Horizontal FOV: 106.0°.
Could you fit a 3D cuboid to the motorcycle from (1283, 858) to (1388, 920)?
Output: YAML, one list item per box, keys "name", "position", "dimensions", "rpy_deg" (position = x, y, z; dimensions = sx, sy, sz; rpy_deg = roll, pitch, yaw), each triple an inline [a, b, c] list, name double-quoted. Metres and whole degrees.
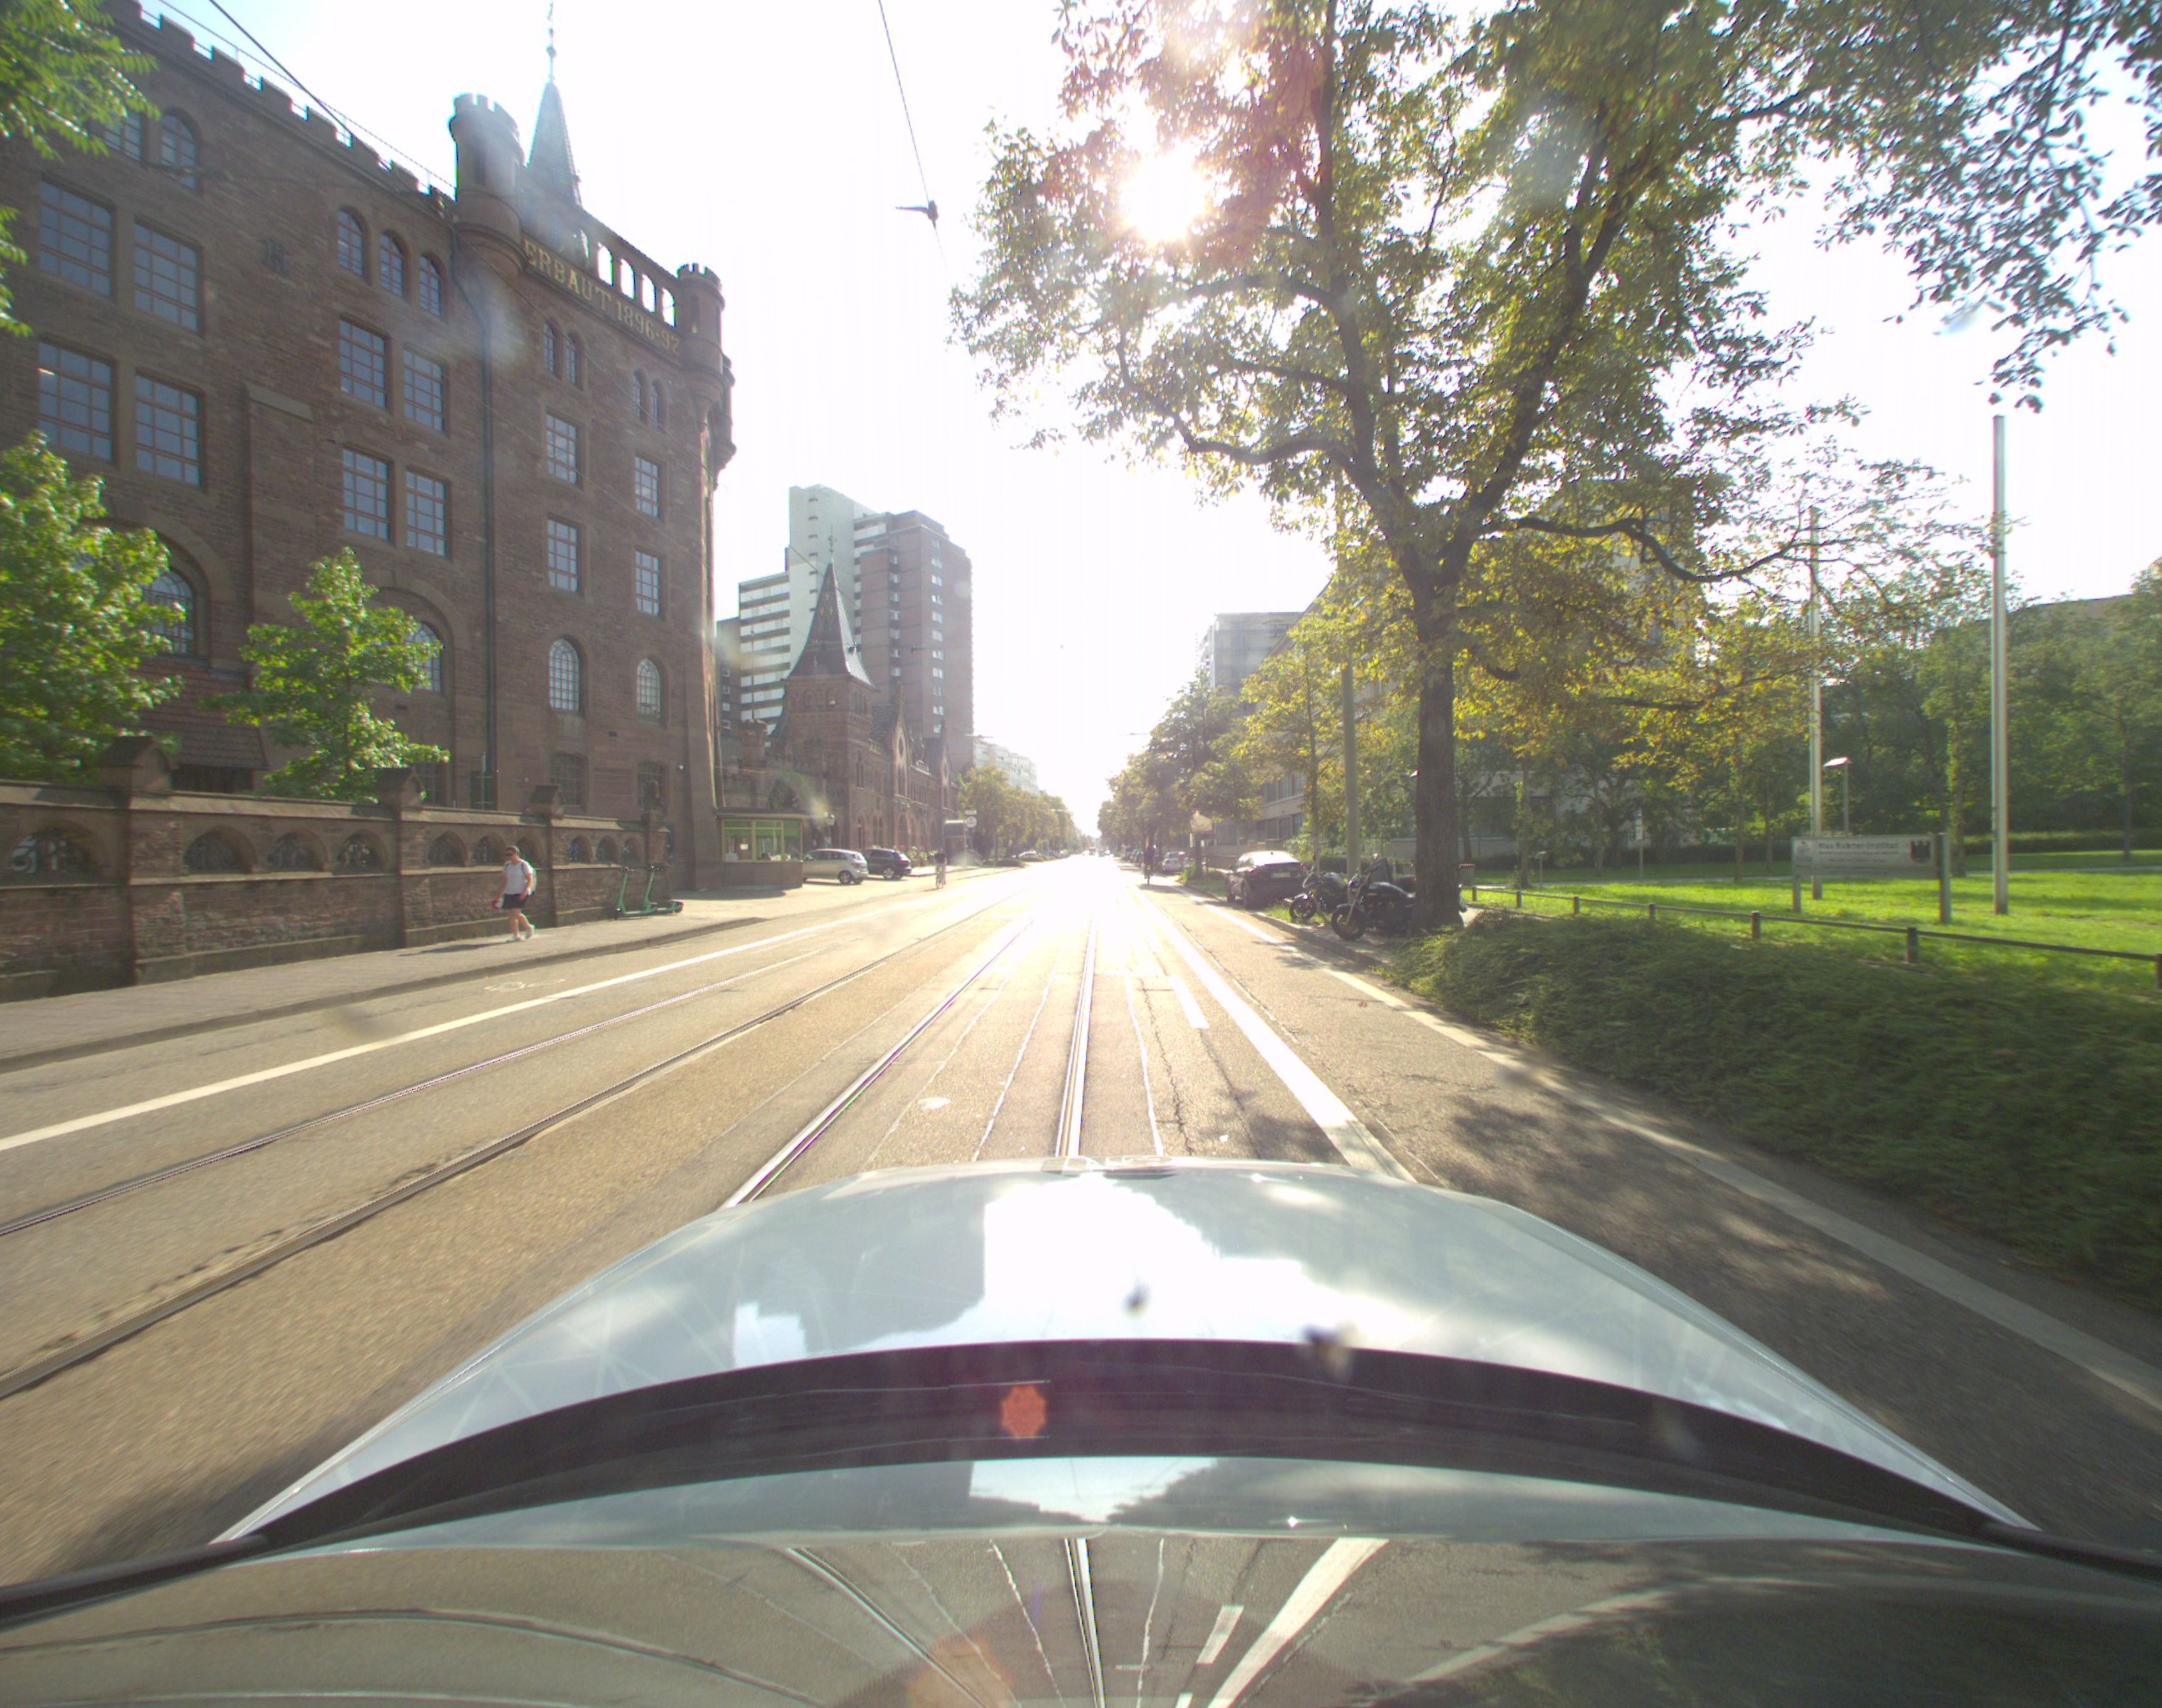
- name: "motorcycle"
  position: [5.226, 0.698, 16.725]
  dimensions: [1.964, 1.225, 0.649]
  rpy_deg: [-1, 0, 26]

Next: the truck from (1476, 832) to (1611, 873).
- name: "truck"
  position: [26.521, -0.104, 46.894]
  dimensions: [6.541, 2.215, 2.122]
  rpy_deg: [-1, 0, 2]

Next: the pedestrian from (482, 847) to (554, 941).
- name: "pedestrian"
  position: [-9.887, 0.685, 14.326]
  dimensions: [0.713, 1.589, 0.775]
  rpy_deg: [-1, 0, 1]

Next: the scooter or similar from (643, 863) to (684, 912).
- name: "scooter or similar"
  position: [-10.157, 0.814, 19.814]
  dimensions: [0.820, 1.148, 0.281]
  rpy_deg: [2, -2, -35]

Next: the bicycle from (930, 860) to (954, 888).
- name: "bicycle"
  position: [-6.310, 0.894, 36.956]
  dimensions: [0.695, 1.158, 2.037]
  rpy_deg: [-4, 0, -1]

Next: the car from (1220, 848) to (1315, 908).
- name: "car"
  position: [5.342, 0.624, 23.877]
  dimensions: [1.735, 1.486, 4.437]
  rpy_deg: [-2, 1, 0]

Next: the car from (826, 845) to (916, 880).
- name: "car"
  position: [-11.577, 0.454, 45.046]
  dimensions: [4.385, 1.645, 1.956]
  rpy_deg: [3, 0, -2]

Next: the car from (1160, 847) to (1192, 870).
- name: "car"
  position: [6.320, 0.301, 54.500]
  dimensions: [1.635, 1.430, 3.988]
  rpy_deg: [-2, 0, 0]

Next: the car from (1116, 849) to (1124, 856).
- name: "car"
  position: [9.204, -0.347, 191.749]
  dimensions: [1.683, 1.418, 3.636]
  rpy_deg: [-1, 0, 2]

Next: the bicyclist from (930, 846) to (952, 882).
- name: "bicyclist"
  position: [-6.347, 0.464, 36.966]
  dimensions: [0.695, 1.580, 1.087]
  rpy_deg: [-4, 0, -1]

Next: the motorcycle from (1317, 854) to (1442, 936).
- name: "motorcycle"
  position: [5.328, 0.702, 14.689]
  dimensions: [0.847, 1.327, 2.048]
  rpy_deg: [-2, 0, -27]

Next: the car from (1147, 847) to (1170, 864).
- name: "car"
  position: [6.905, 0.141, 73.106]
  dimensions: [1.640, 1.428, 4.085]
  rpy_deg: [-2, 0, 1]

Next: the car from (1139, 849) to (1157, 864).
- name: "car"
  position: [6.961, 0.238, 84.705]
  dimensions: [1.640, 1.511, 3.780]
  rpy_deg: [-3, 0, 2]

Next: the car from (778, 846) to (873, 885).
- name: "car"
  position: [-12.251, 0.530, 39.255]
  dimensions: [3.882, 1.596, 1.824]
  rpy_deg: [3, 1, 3]

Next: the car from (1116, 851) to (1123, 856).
- name: "car"
  position: [9.720, -0.143, 205.372]
  dimensions: [1.588, 1.418, 3.636]
  rpy_deg: [-1, 0, 2]

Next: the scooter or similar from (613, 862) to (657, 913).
- name: "scooter or similar"
  position: [-10.179, 0.761, 18.580]
  dimensions: [0.820, 1.148, 0.281]
  rpy_deg: [2, -2, -35]

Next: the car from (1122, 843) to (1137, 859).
- name: "car"
  position: [8.291, -0.513, 138.909]
  dimensions: [2.076, 2.552, 5.501]
  rpy_deg: [-4, 0, 0]

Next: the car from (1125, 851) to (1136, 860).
- name: "car"
  position: [7.754, 0.208, 128.689]
  dimensions: [1.610, 1.374, 4.830]
  rpy_deg: [-2, 0, 2]

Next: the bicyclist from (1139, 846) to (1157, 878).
- name: "bicyclist"
  position: [3.124, 0.370, 38.173]
  dimensions: [0.783, 1.470, 1.117]
  rpy_deg: [-1, 0, 3]

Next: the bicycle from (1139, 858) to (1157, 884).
- name: "bicycle"
  position: [3.125, 0.771, 38.198]
  dimensions: [0.783, 1.144, 2.307]
  rpy_deg: [-1, 0, 3]

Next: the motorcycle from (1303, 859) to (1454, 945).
- name: "motorcycle"
  position: [4.696, 0.742, 12.950]
  dimensions: [2.040, 1.243, 0.850]
  rpy_deg: [-2, 0, 40]

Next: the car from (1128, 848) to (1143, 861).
- name: "car"
  position: [7.169, 0.051, 107.834]
  dimensions: [1.748, 1.691, 4.395]
  rpy_deg: [0, 1, 0]

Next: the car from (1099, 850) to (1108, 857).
- name: "car"
  position: [5.531, -0.167, 200.856]
  dimensions: [1.985, 1.838, 4.003]
  rpy_deg: [-1, 0, 3]

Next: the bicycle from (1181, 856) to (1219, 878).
- name: "bicycle"
  position: [6.134, 0.651, 42.008]
  dimensions: [1.763, 1.064, 0.796]
  rpy_deg: [-3, 0, -1]
